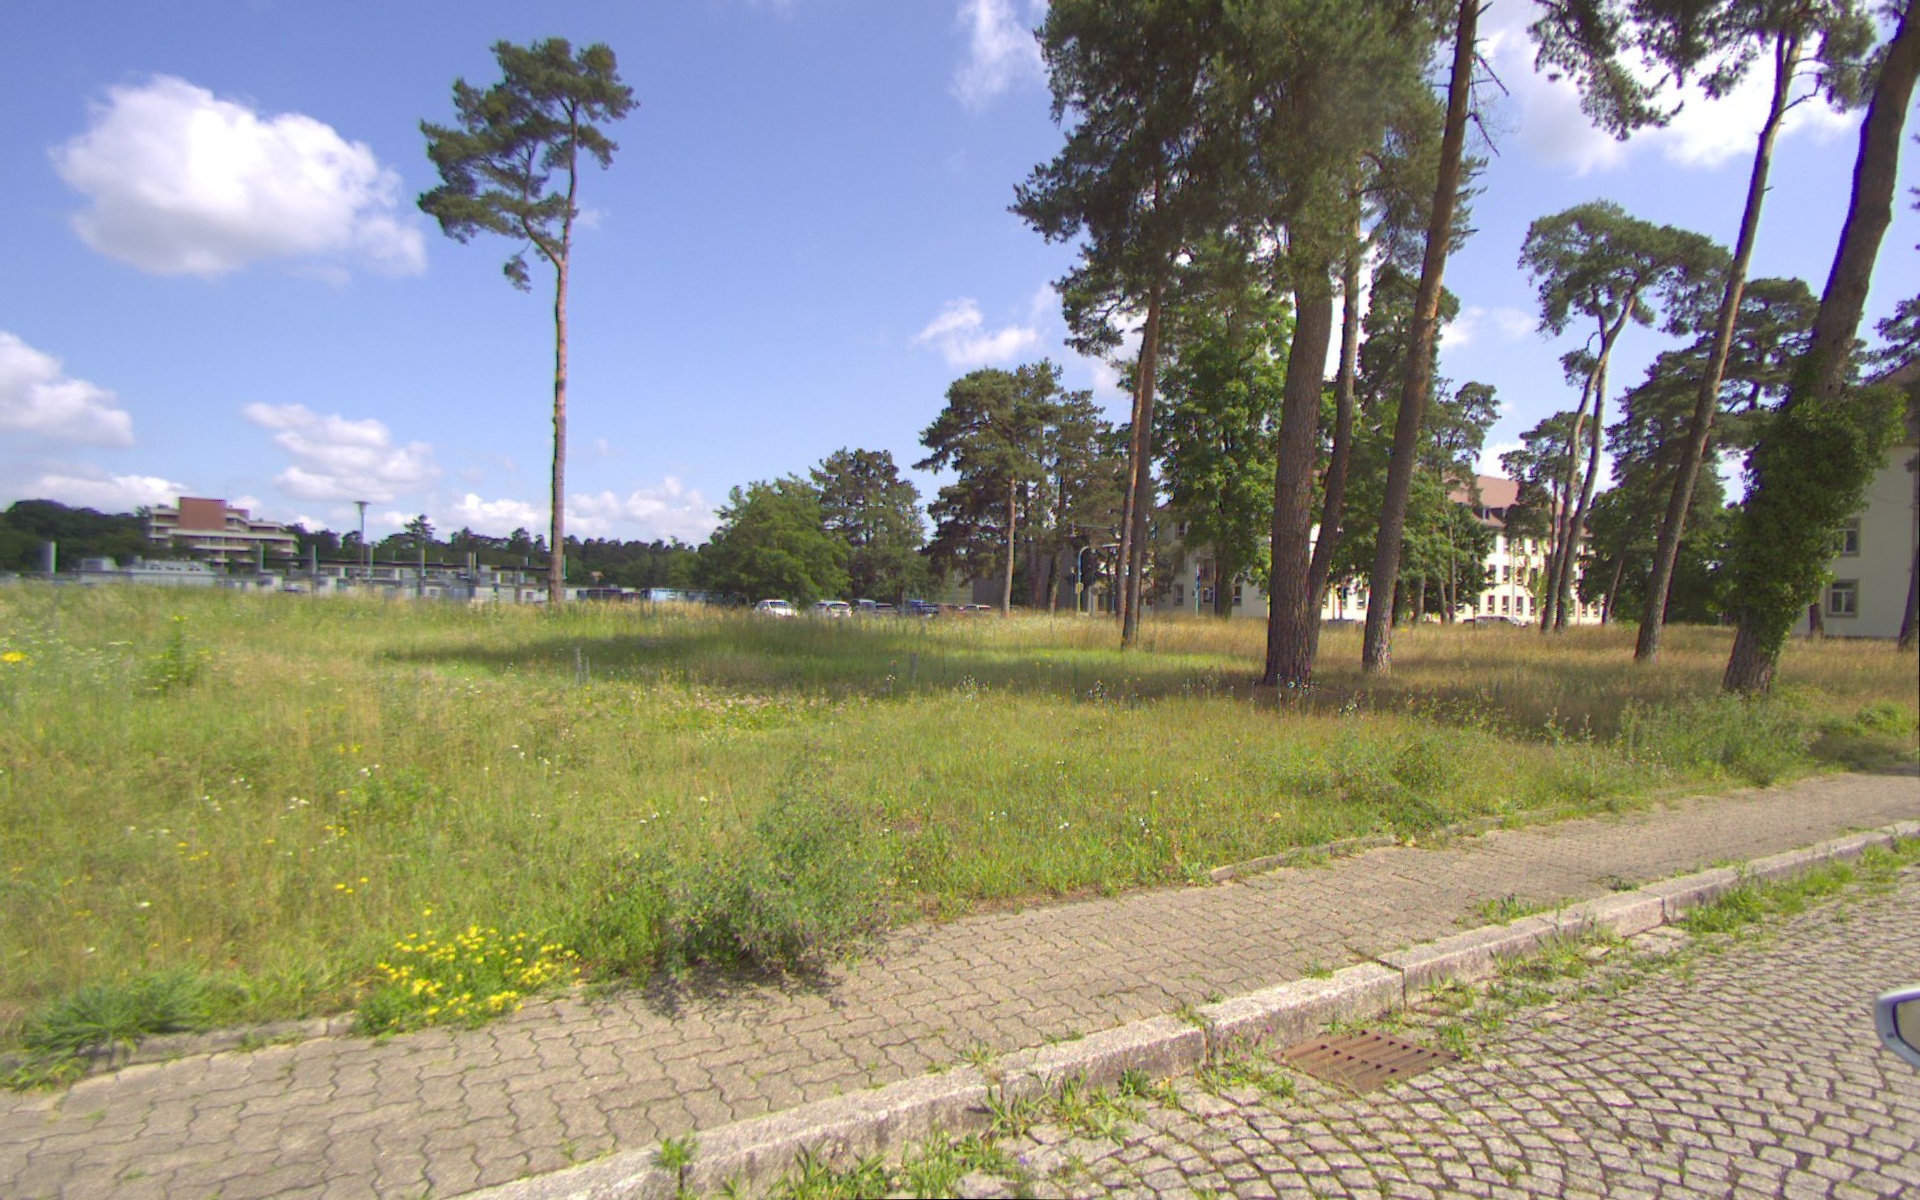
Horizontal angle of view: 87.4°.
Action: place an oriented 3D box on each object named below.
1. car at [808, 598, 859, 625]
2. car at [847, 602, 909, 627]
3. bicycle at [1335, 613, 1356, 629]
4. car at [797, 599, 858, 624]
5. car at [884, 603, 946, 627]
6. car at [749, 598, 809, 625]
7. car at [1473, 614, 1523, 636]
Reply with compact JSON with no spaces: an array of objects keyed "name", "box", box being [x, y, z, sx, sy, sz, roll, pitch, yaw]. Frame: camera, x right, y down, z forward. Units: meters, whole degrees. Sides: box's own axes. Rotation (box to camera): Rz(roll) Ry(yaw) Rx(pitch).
[{"name":"car","box":[-8.558,0.779,67.865,1.880,1.724,4.044,2,-1,-32]},{"name":"car","box":[-4.721,0.821,57.305,1.880,1.337,4.044,2,-1,-32]},{"name":"bicycle","box":[29.239,1.591,76.244,1.562,1.115,0.489,2,0,-20]},{"name":"car","box":[-7.481,0.635,56.496,1.880,1.356,4.044,2,-1,-32]},{"name":"car","box":[-2.656,0.861,58.433,1.880,1.326,4.044,2,-1,-32]},{"name":"car","box":[-9.903,0.600,54.690,1.880,1.367,4.036,2,-1,-32]},{"name":"car","box":[52.434,2.430,98.020,1.693,2.018,4.040,2,-1,-30]}]
